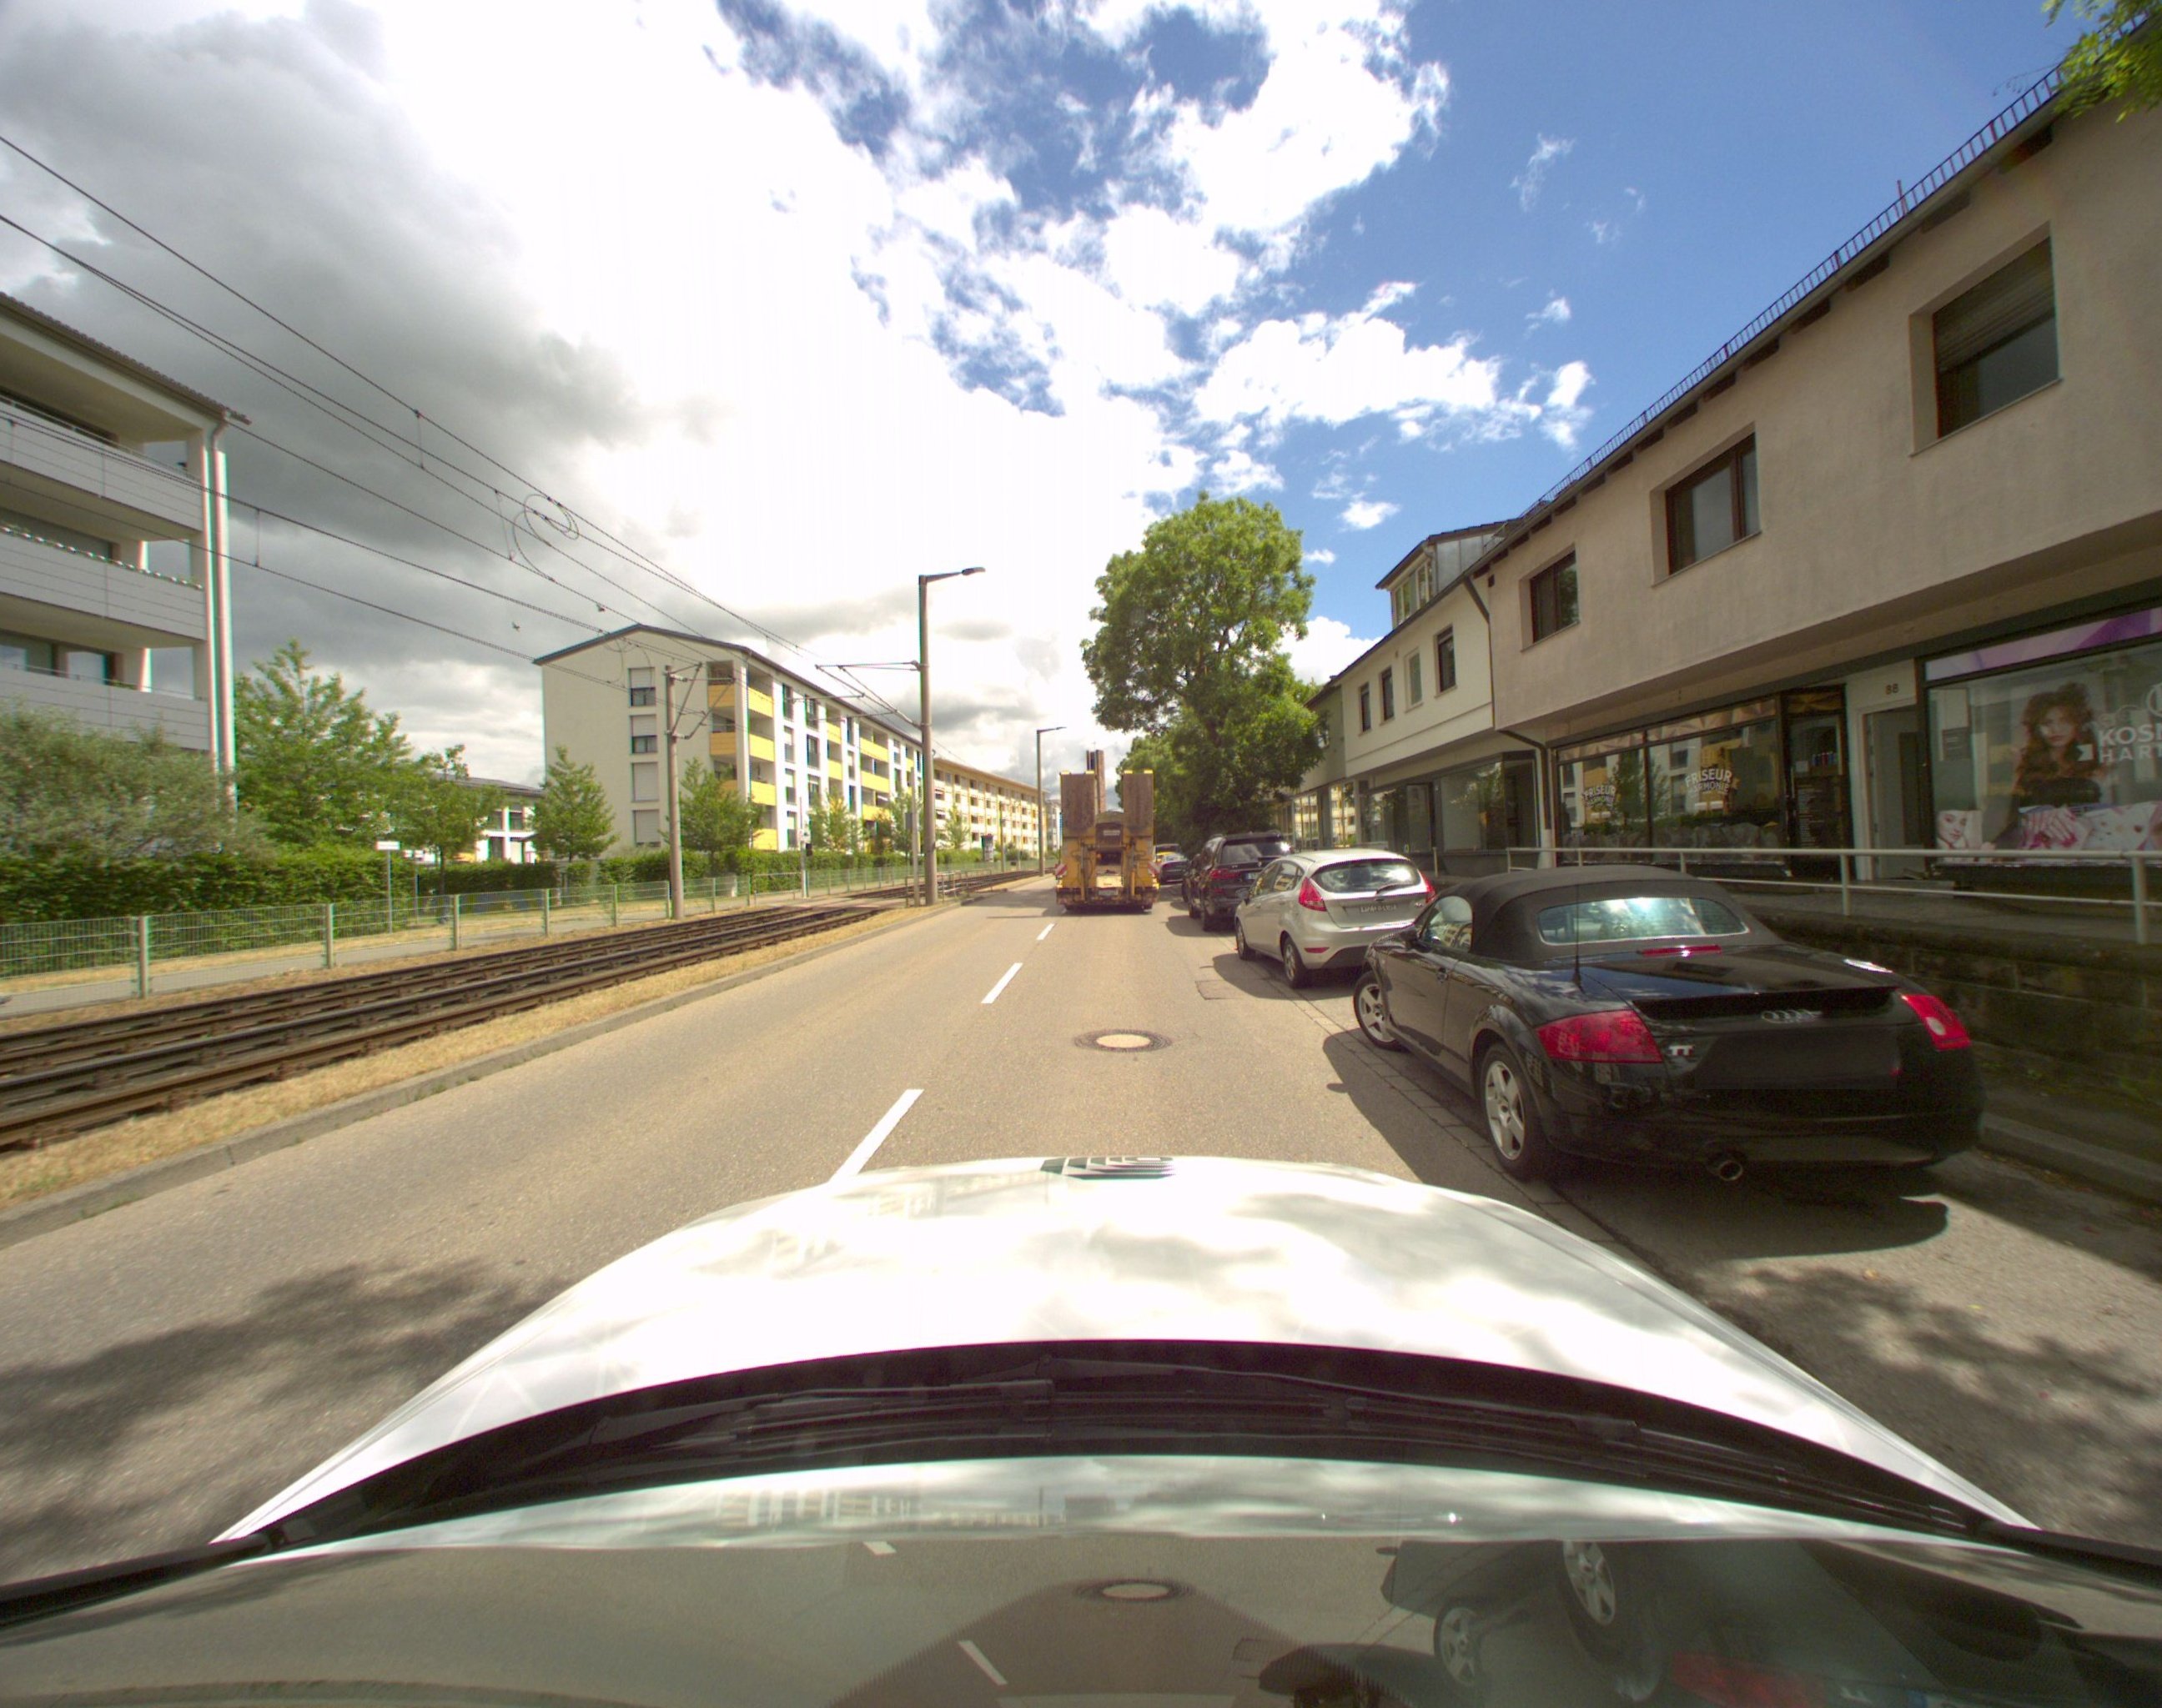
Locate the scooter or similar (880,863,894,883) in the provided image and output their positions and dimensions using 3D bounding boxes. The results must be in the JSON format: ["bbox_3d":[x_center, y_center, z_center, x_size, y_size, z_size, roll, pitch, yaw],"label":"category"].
[{"bbox_3d":[-12.568,1.223,52.845,0.488,1.293,1.303,-2,0,4],"label":"scooter or similar"}]

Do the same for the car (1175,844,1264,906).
[{"bbox_3d":[3.802,0.538,23.030,1.827,1.505,4.243,-3,0,1],"label":"car"}]

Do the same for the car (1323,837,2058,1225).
[{"bbox_3d":[2.842,0.672,5.047,1.762,1.349,4.006,-4,0,6],"label":"car"}]

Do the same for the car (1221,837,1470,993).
[{"bbox_3d":[3.008,0.625,10.190,1.766,1.442,3.899,-4,0,0],"label":"car"}]

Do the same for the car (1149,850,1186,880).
[{"bbox_3d":[4.683,0.576,44.496,1.748,1.442,4.344,-3,0,3],"label":"car"}]

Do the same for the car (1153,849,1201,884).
[{"bbox_3d":[4.401,0.527,37.765,1.749,1.442,4.495,-3,0,1],"label":"car"}]

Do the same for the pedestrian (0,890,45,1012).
[{"bbox_3d":[-13.735,1.214,9.963,0.793,1.483,0.996,-2,0,1],"label":"pedestrian"}]

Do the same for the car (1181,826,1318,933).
[{"bbox_3d":[3.259,0.455,16.843,2.006,1.788,5.080,-3,0,3],"label":"car"}]

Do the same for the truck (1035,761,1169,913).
[{"bbox_3d":[0.724,-0.420,25.805,3.112,3.564,12.465,-2,0,2],"label":"truck"}]

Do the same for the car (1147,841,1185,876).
[{"bbox_3d":[5.268,0.272,50.973,1.907,1.958,5.748,-3,0,2],"label":"car"}]
